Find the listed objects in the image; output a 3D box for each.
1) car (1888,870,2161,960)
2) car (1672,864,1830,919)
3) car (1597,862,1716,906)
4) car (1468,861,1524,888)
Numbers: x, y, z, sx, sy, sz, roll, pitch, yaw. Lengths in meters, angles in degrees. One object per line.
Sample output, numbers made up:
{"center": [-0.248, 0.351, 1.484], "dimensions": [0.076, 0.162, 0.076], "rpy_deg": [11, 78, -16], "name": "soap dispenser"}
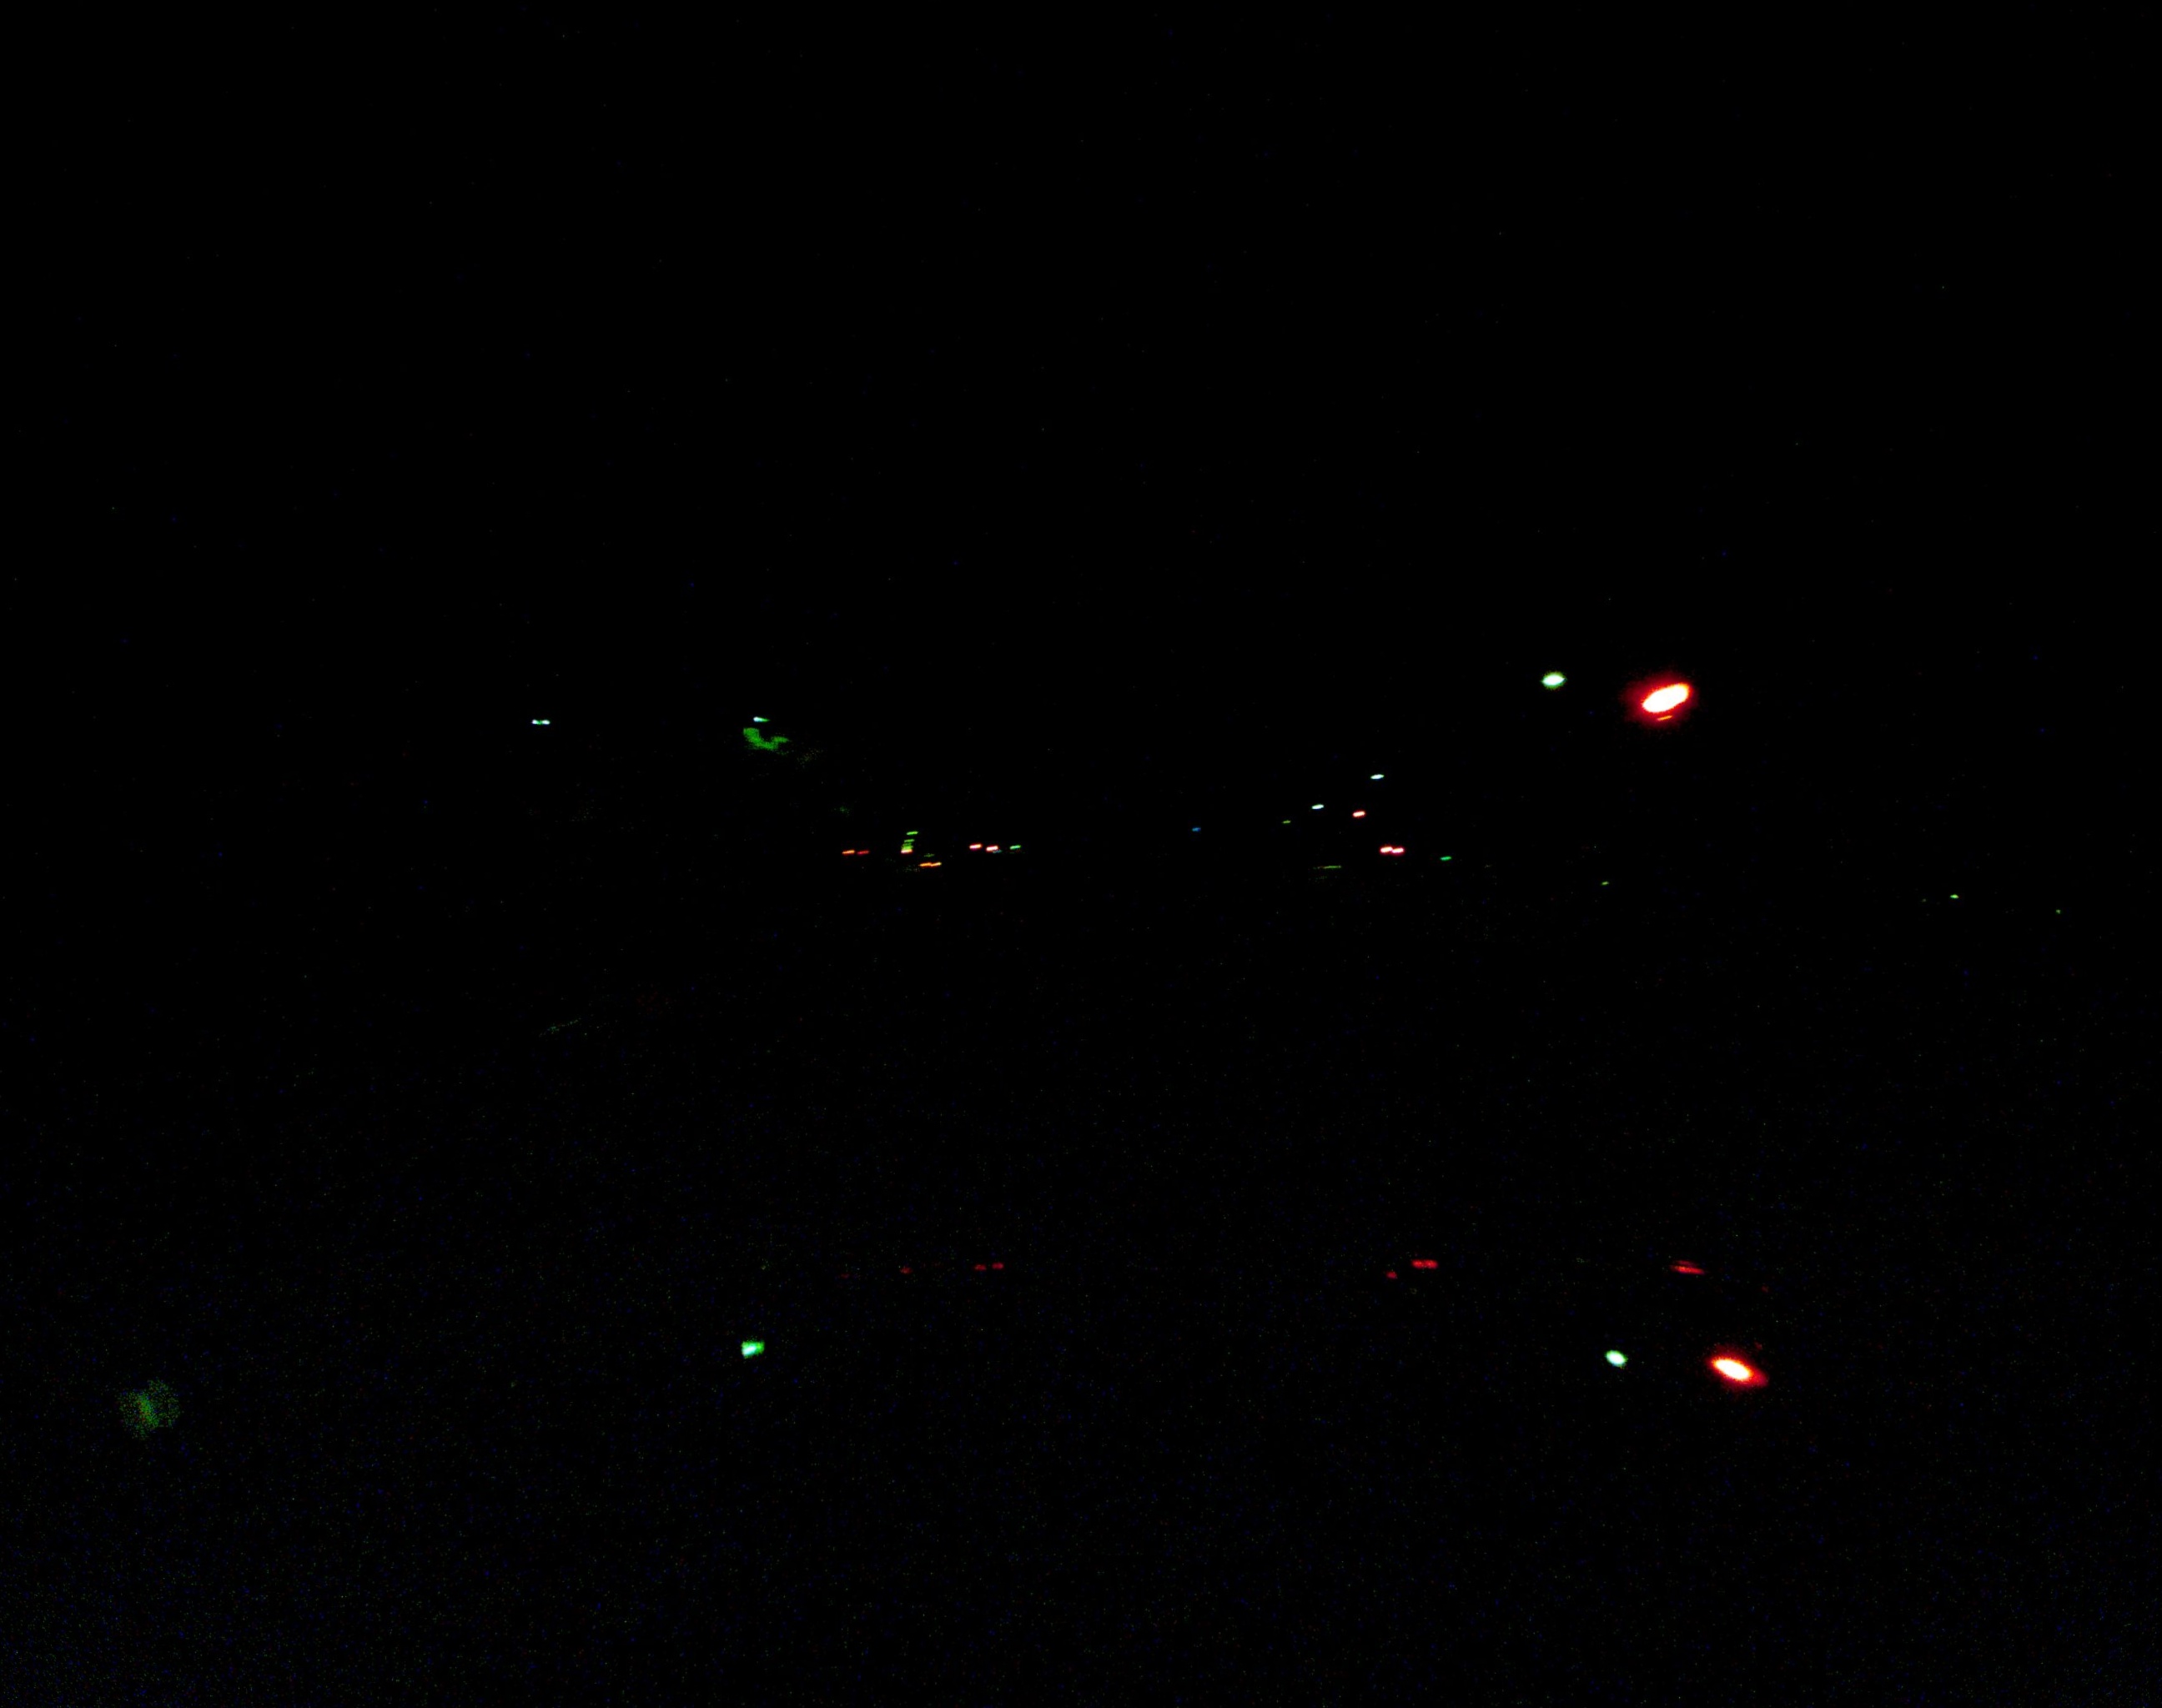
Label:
{"center": [18.864, 1.066, 14.855], "dimensions": [1.864, 1.425, 4.407], "rpy_deg": [-1, 0, 8], "name": "car"}
{"center": [20.100, 1.076, 23.064], "dimensions": [1.554, 1.425, 4.352], "rpy_deg": [-2, -1, 10], "name": "car"}
{"center": [20.901, 1.037, 27.818], "dimensions": [1.641, 1.425, 4.354], "rpy_deg": [-2, -1, 10], "name": "car"}
{"center": [24.056, 1.177, 44.173], "dimensions": [1.632, 1.455, 3.516], "rpy_deg": [1, 0, 6], "name": "car"}
